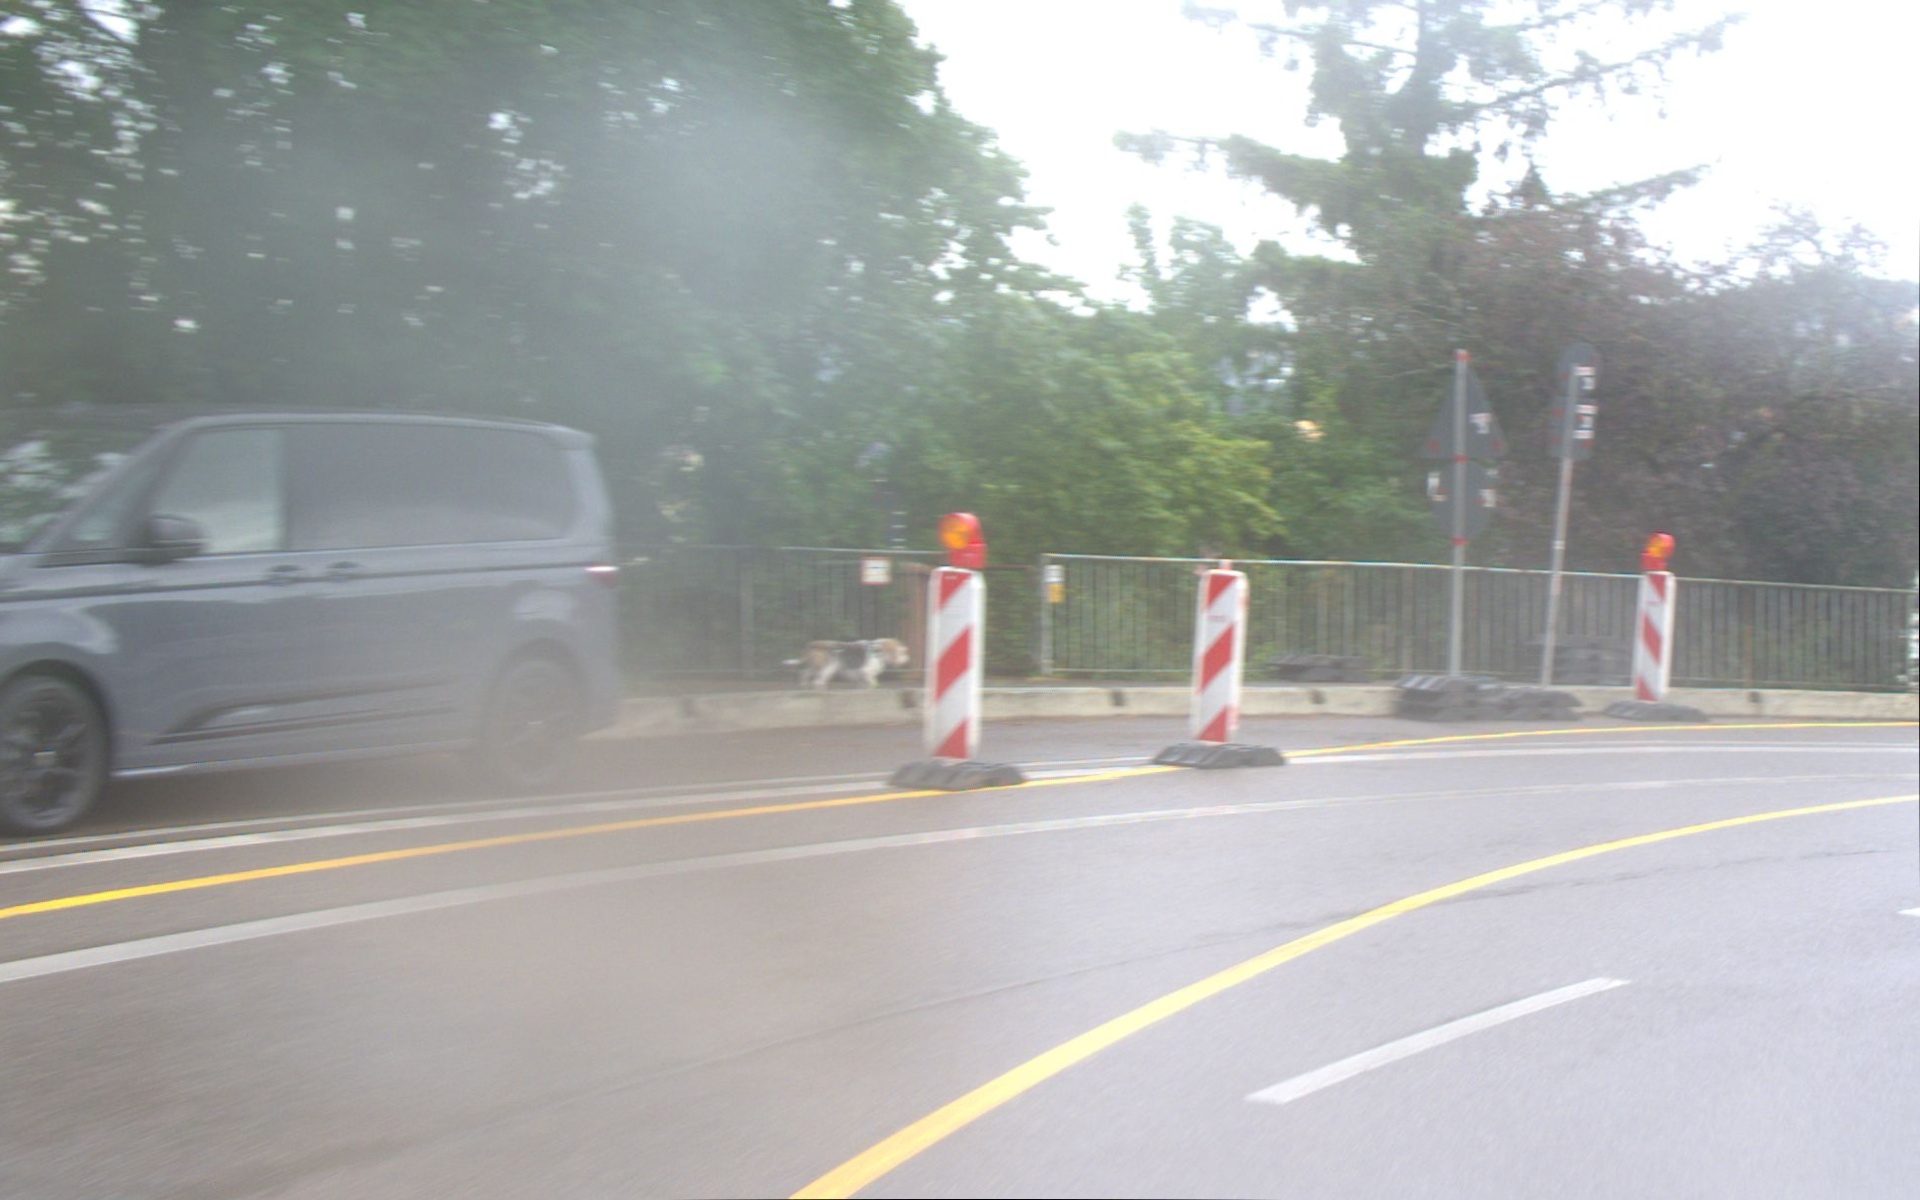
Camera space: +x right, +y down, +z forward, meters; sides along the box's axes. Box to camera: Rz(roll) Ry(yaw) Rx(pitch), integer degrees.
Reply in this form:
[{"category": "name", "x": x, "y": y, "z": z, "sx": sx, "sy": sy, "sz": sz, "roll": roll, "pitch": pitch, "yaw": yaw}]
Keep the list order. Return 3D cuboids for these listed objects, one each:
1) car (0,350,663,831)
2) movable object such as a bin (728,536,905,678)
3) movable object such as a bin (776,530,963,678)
[{"category": "car", "x": -3.816, "y": -0.091, "z": 16.317, "sx": 1.998, "sy": 2.006, "sz": 4.939, "roll": 4, "pitch": 2, "yaw": 35}, {"category": "movable object such as a bin", "x": -1.151, "y": 0.041, "z": 27.506, "sx": 1.024, "sy": 1.103, "sz": 0.989, "roll": -1, "pitch": 2, "yaw": -37}, {"category": "movable object such as a bin", "x": -0.700, "y": 0.027, "z": 26.525, "sx": 1.024, "sy": 1.103, "sz": 0.989, "roll": 1, "pitch": 1, "yaw": -37}]
